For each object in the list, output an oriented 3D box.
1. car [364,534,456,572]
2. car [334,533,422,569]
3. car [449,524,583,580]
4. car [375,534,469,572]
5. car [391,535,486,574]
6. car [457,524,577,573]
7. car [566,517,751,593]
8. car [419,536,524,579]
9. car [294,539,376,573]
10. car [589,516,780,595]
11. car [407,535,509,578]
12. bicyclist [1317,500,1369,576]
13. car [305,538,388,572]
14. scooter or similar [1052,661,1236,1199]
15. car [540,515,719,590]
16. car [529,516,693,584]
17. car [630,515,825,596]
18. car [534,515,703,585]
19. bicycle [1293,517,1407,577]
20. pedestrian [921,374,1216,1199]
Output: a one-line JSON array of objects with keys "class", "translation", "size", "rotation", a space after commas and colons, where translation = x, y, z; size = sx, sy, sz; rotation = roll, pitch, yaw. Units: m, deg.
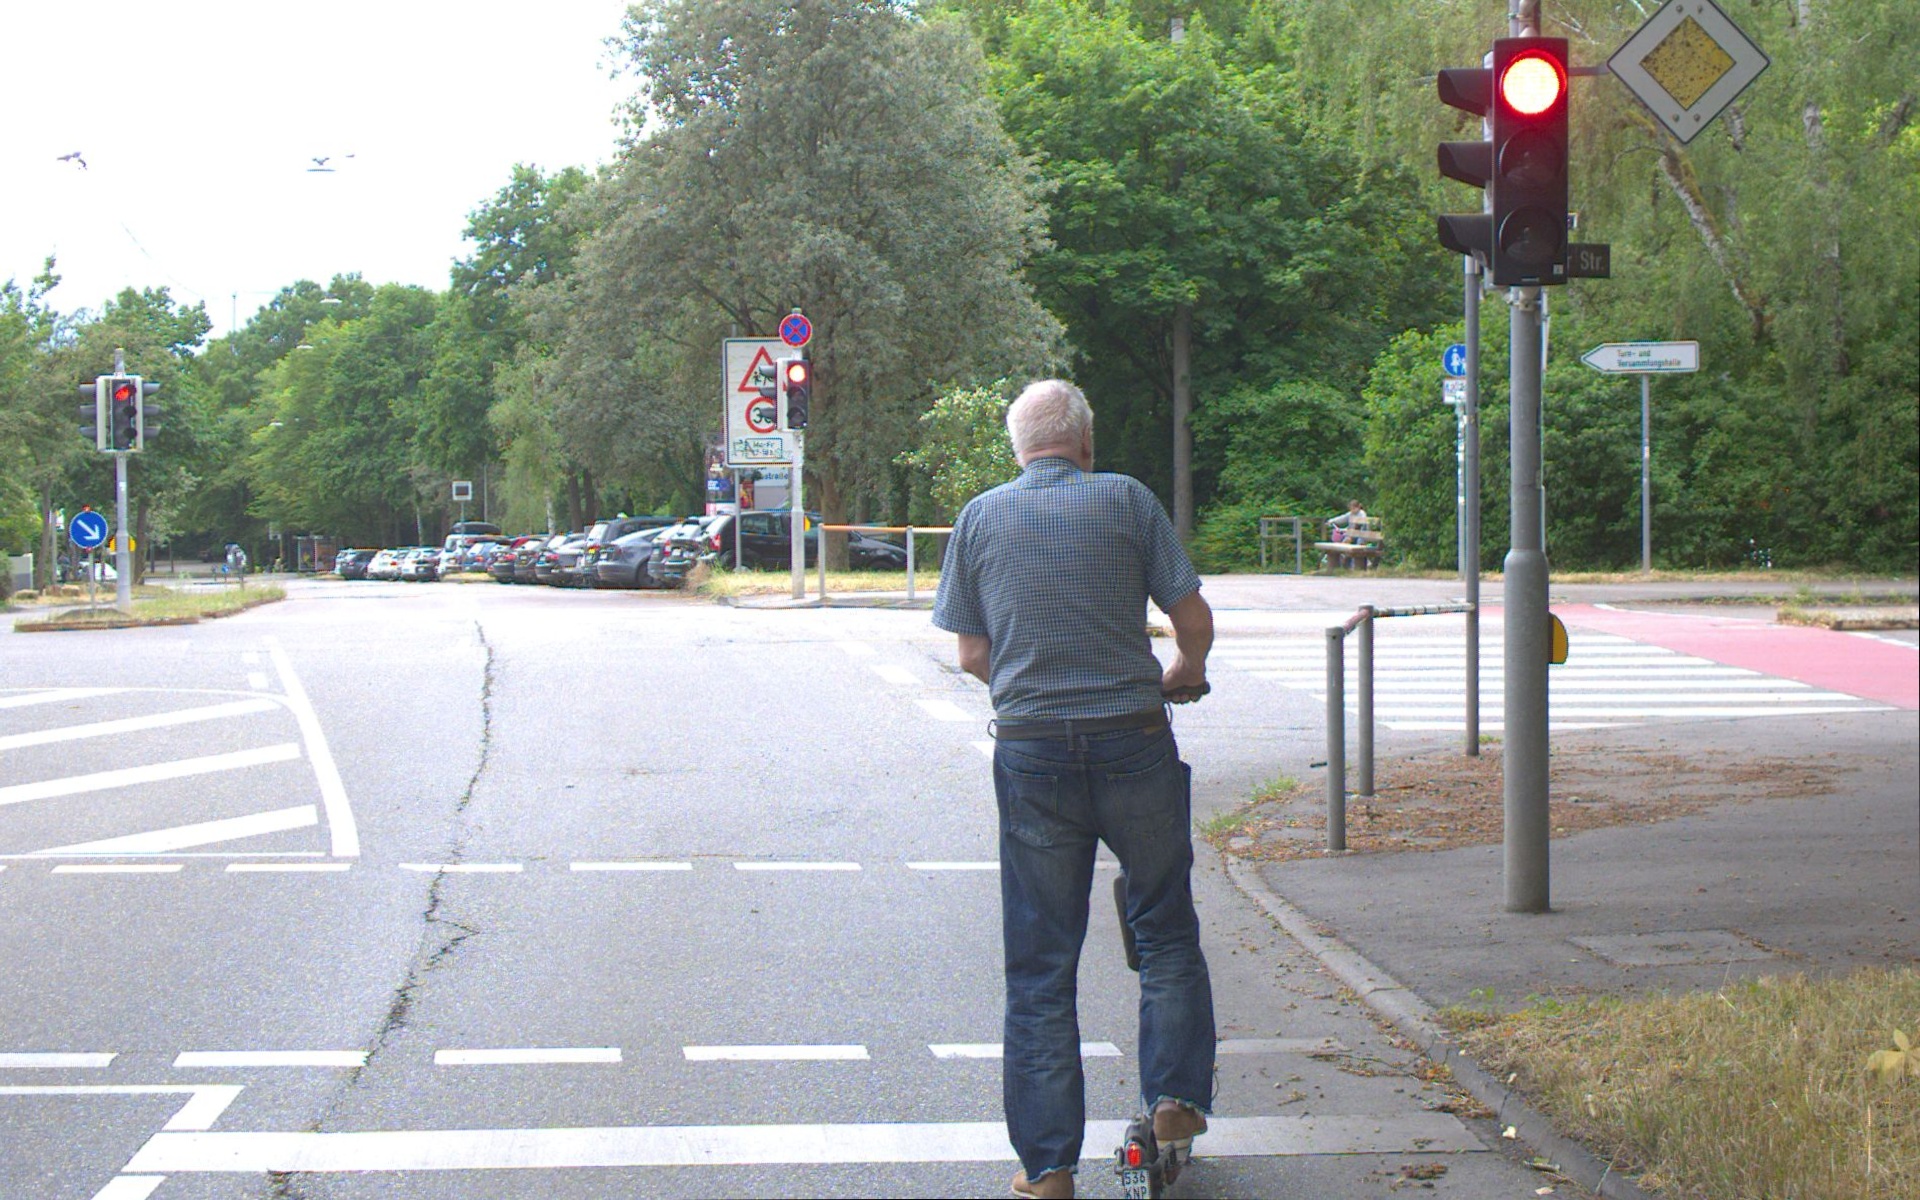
[{"class": "car", "translation": [-25.393, -2.193, 158.768], "size": [3.840, 1.605, 1.729], "rotation": [-3, 2, -23]}, {"class": "car", "translation": [-28.063, -2.362, 165.833], "size": [3.840, 1.605, 1.729], "rotation": [-3, 2, -23]}, {"class": "car", "translation": [-14.058, -1.523, 108.919], "size": [3.840, 1.605, 1.729], "rotation": [-3, 2, -23]}, {"class": "car", "translation": [-24.451, -2.133, 156.198], "size": [3.840, 1.605, 1.729], "rotation": [-3, 2, -23]}, {"class": "car", "translation": [-23.376, -2.035, 154.066], "size": [3.840, 1.605, 1.729], "rotation": [-3, 2, -23]}, {"class": "car", "translation": [-15.705, -1.835, 121.886], "size": [3.840, 1.605, 1.729], "rotation": [-3, 2, -23]}, {"class": "car", "translation": [-6.955, -1.053, 79.296], "size": [3.840, 1.605, 1.729], "rotation": [-3, 2, -23]}, {"class": "car", "translation": [-19.749, -1.729, 139.088], "size": [3.840, 1.605, 1.729], "rotation": [-3, 2, -23]}, {"class": "car", "translation": [-32.351, -2.285, 177.968], "size": [3.840, 1.605, 1.729], "rotation": [-3, 2, -23]}, {"class": "car", "translation": [-6.153, -1.001, 76.755], "size": [3.841, 1.605, 1.728], "rotation": [-3, 2, -24]}, {"class": "car", "translation": [-20.854, -1.809, 142.762], "size": [3.840, 1.605, 1.729], "rotation": [-3, 2, -23]}, {"class": "bicyclist", "translation": [6.344, -1.026, 56.926], "size": [0.676, 1.244, 0.494], "rotation": [1, 1, -29]}, {"class": "car", "translation": [-31.329, -2.313, 175.630], "size": [3.840, 1.605, 1.729], "rotation": [-3, 2, -23]}, {"class": "scooter or similar", "translation": [0.412, 0.748, 7.392], "size": [0.282, 1.174, 1.177], "rotation": [-1, 1, 8]}, {"class": "car", "translation": [-7.817, -1.132, 81.330], "size": [3.840, 1.605, 1.729], "rotation": [-3, 2, -23]}, {"class": "car", "translation": [-9.044, -1.312, 89.055], "size": [3.840, 1.605, 1.729], "rotation": [-3, 2, -23]}, {"class": "car", "translation": [-5.053, -0.970, 74.784], "size": [3.840, 1.605, 1.729], "rotation": [-2, 2, -21]}, {"class": "car", "translation": [-8.604, -1.266, 86.643], "size": [3.840, 1.605, 1.729], "rotation": [-3, 2, -23]}, {"class": "bicycle", "translation": [6.471, -0.879, 57.004], "size": [1.919, 0.955, 0.494], "rotation": [1, 1, -28]}, {"class": "pedestrian", "translation": [0.247, 0.422, 7.562], "size": [0.573, 1.807, 0.420], "rotation": [-1, 1, 8]}]
